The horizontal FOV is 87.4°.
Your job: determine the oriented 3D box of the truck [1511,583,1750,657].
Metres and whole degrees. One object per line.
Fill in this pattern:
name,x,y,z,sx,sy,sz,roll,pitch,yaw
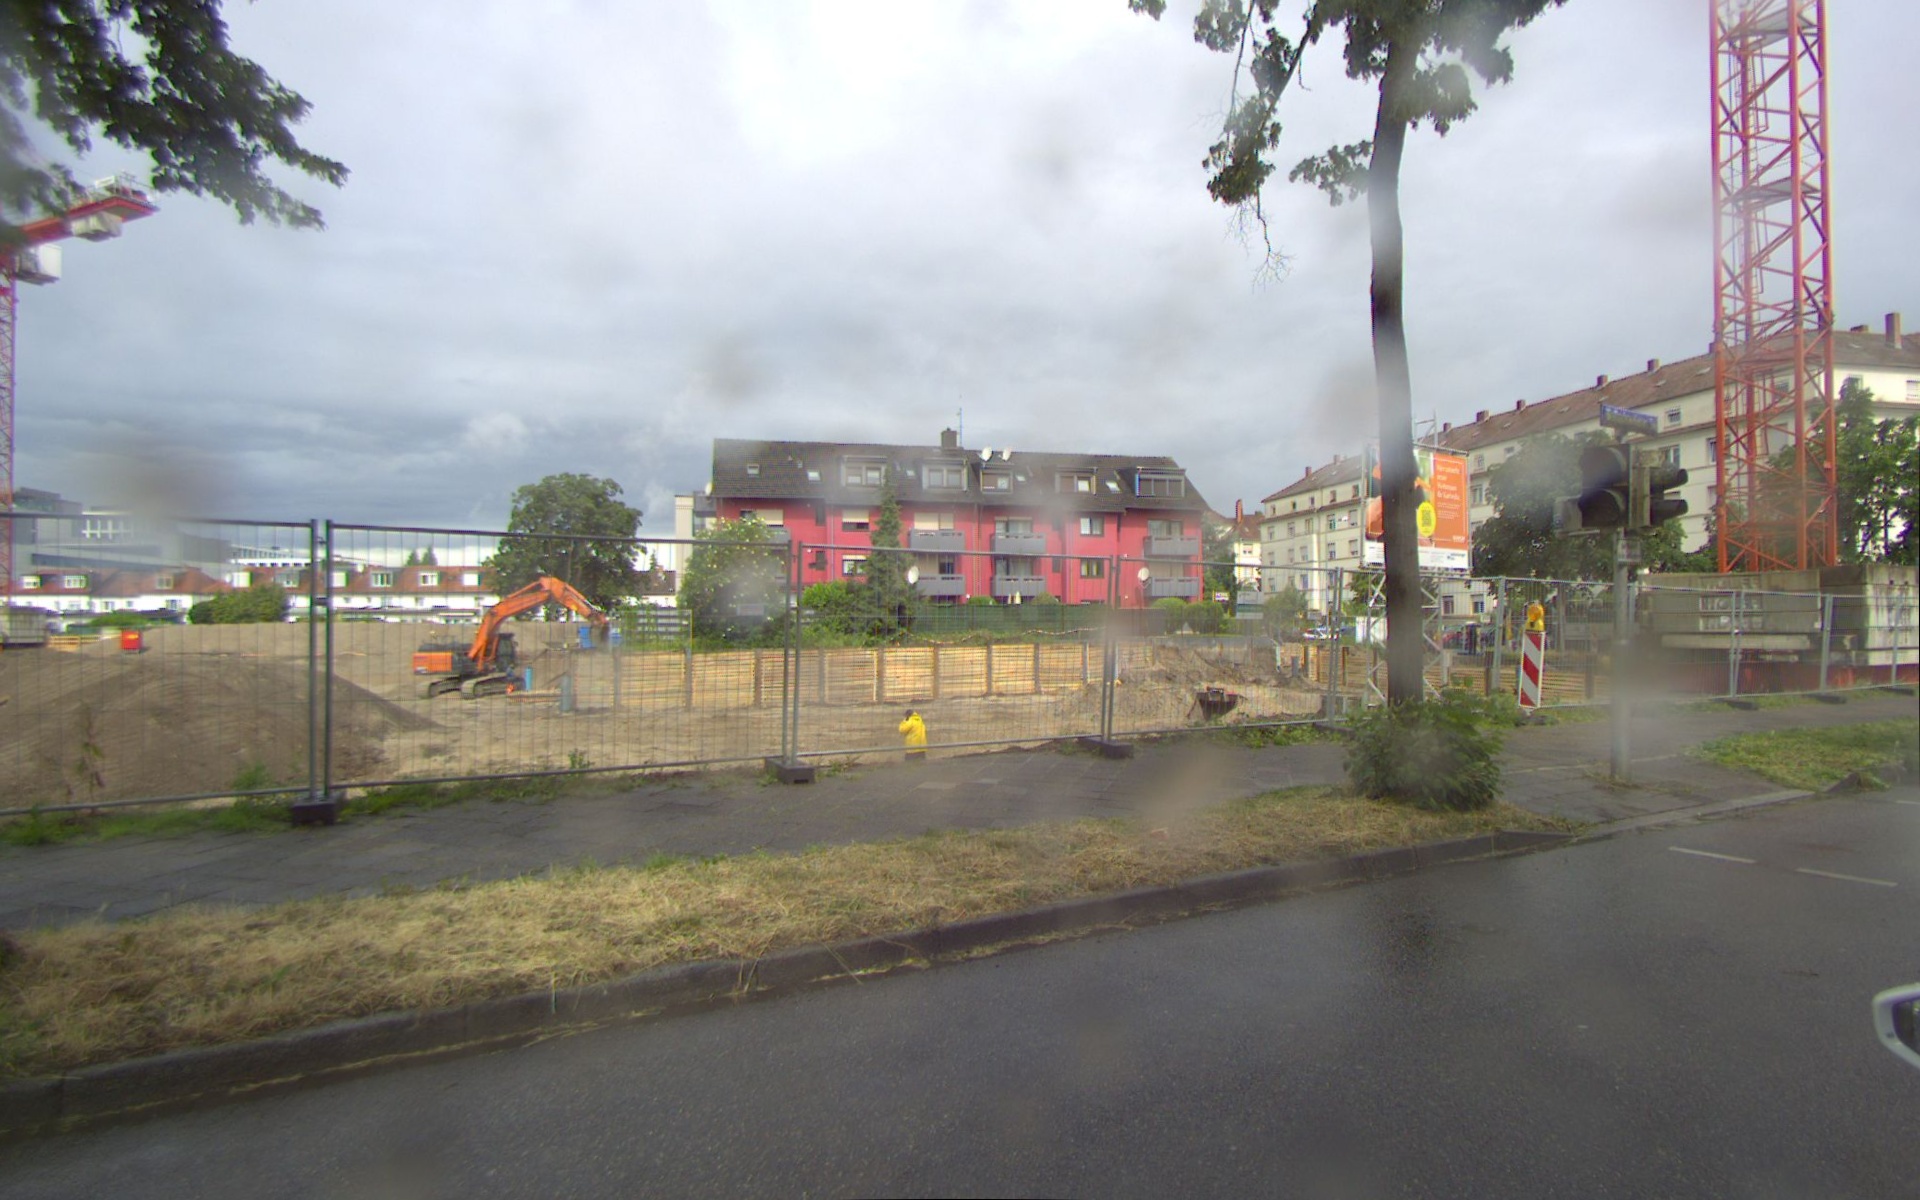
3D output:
truck,32.186,1.056,49.028,3.726,3.226,9.823,0,-2,-12

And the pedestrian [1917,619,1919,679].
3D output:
pedestrian,26.633,1.340,27.285,0.710,1.651,0.684,1,0,23

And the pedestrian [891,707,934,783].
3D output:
pedestrian,-1.120,3.418,23.781,0.837,1.706,0.585,0,-4,-25
